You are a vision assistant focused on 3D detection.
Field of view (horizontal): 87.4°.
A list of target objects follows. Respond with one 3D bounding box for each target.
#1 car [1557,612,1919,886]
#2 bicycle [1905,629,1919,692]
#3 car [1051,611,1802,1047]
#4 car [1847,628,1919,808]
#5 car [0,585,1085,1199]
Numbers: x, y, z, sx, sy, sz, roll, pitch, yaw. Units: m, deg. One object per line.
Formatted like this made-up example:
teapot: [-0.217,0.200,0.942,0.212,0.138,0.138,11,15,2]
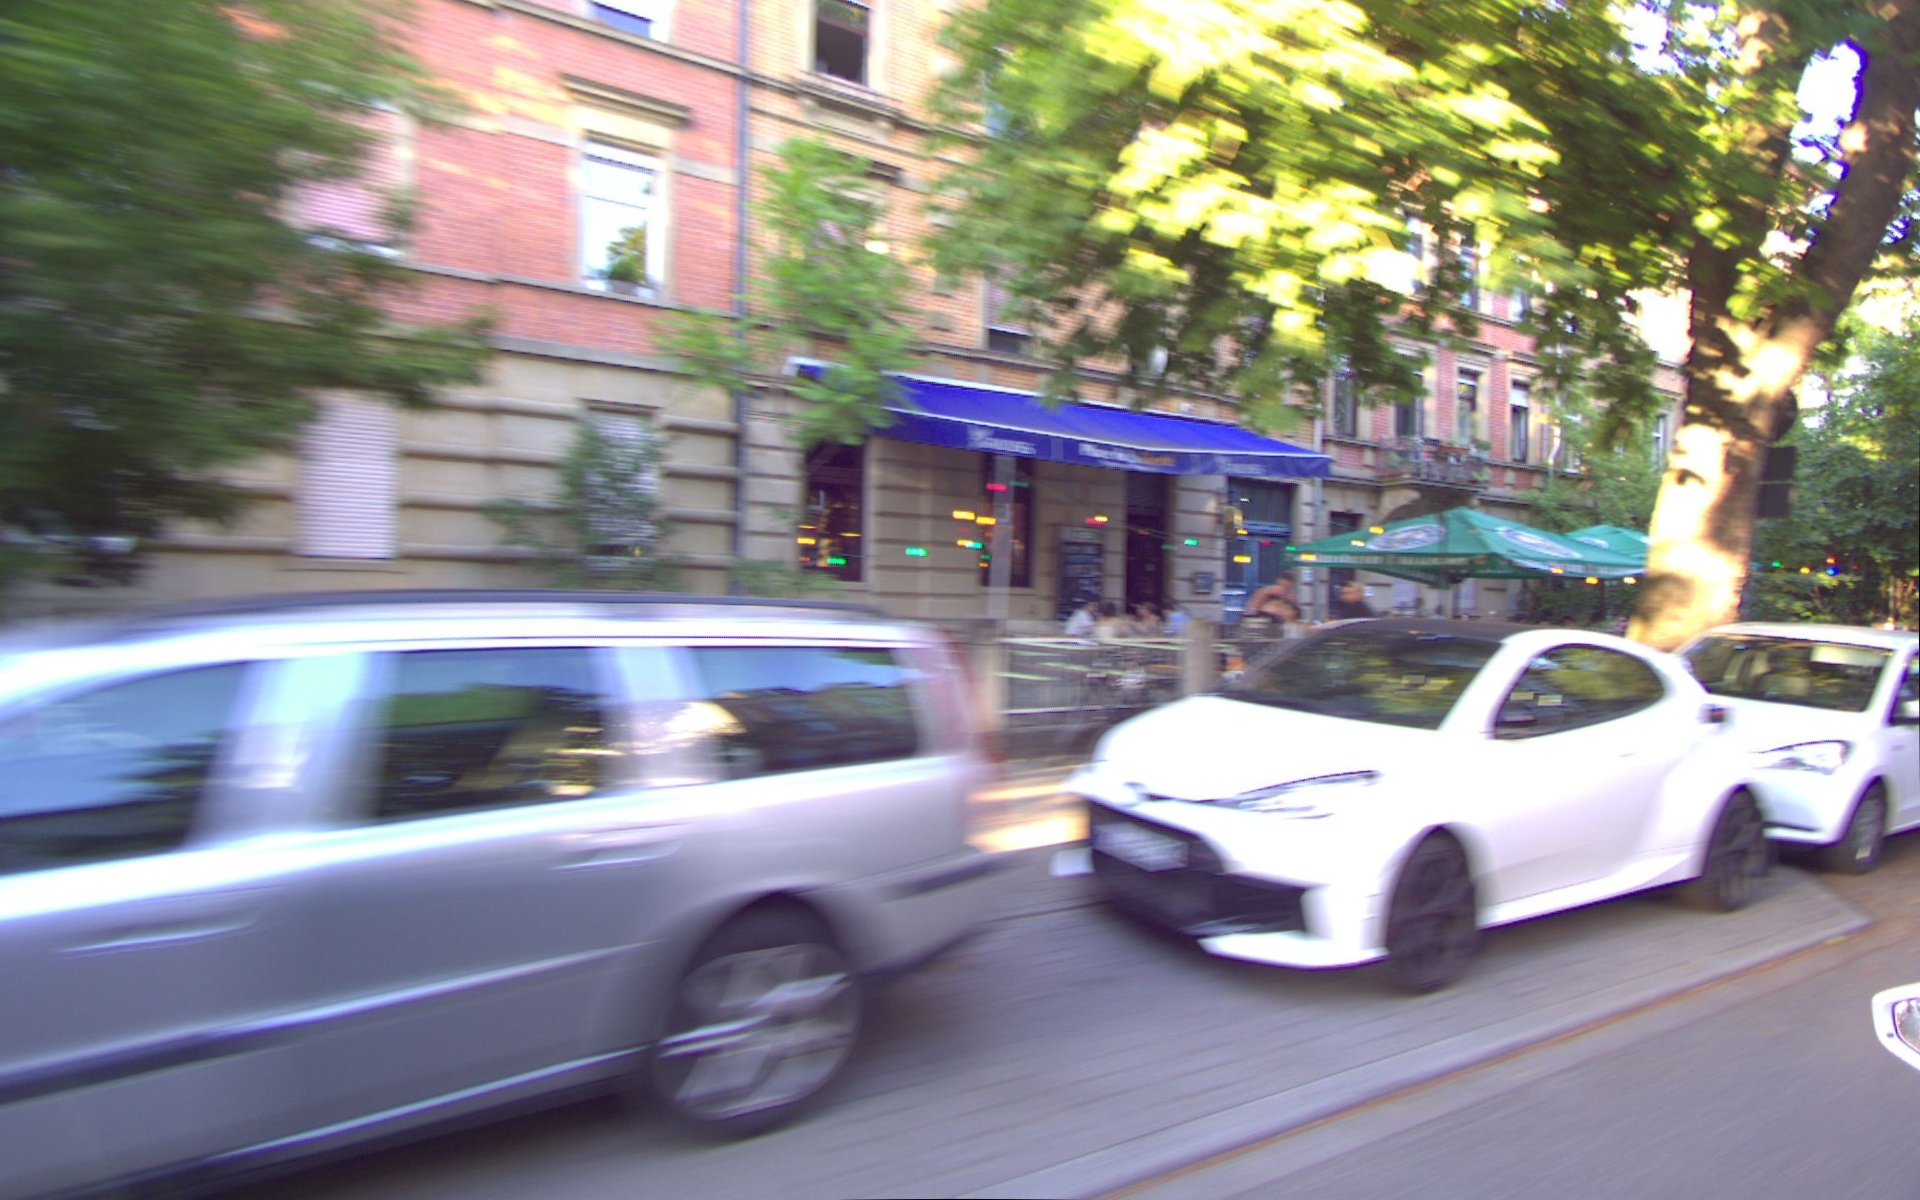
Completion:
car: [6.261,0.898,7.419,3.650,1.505,1.544,1,3,-30]
bicycle: [20.998,1.270,20.904,2.441,1.302,0.606,1,-1,-10]
car: [2.514,0.842,5.210,3.840,1.455,1.595,1,3,-30]
car: [9.825,1.026,9.242,3.653,1.505,1.543,1,-1,-32]
car: [-1.954,0.695,2.795,4.556,1.430,1.827,0,1,-36]
